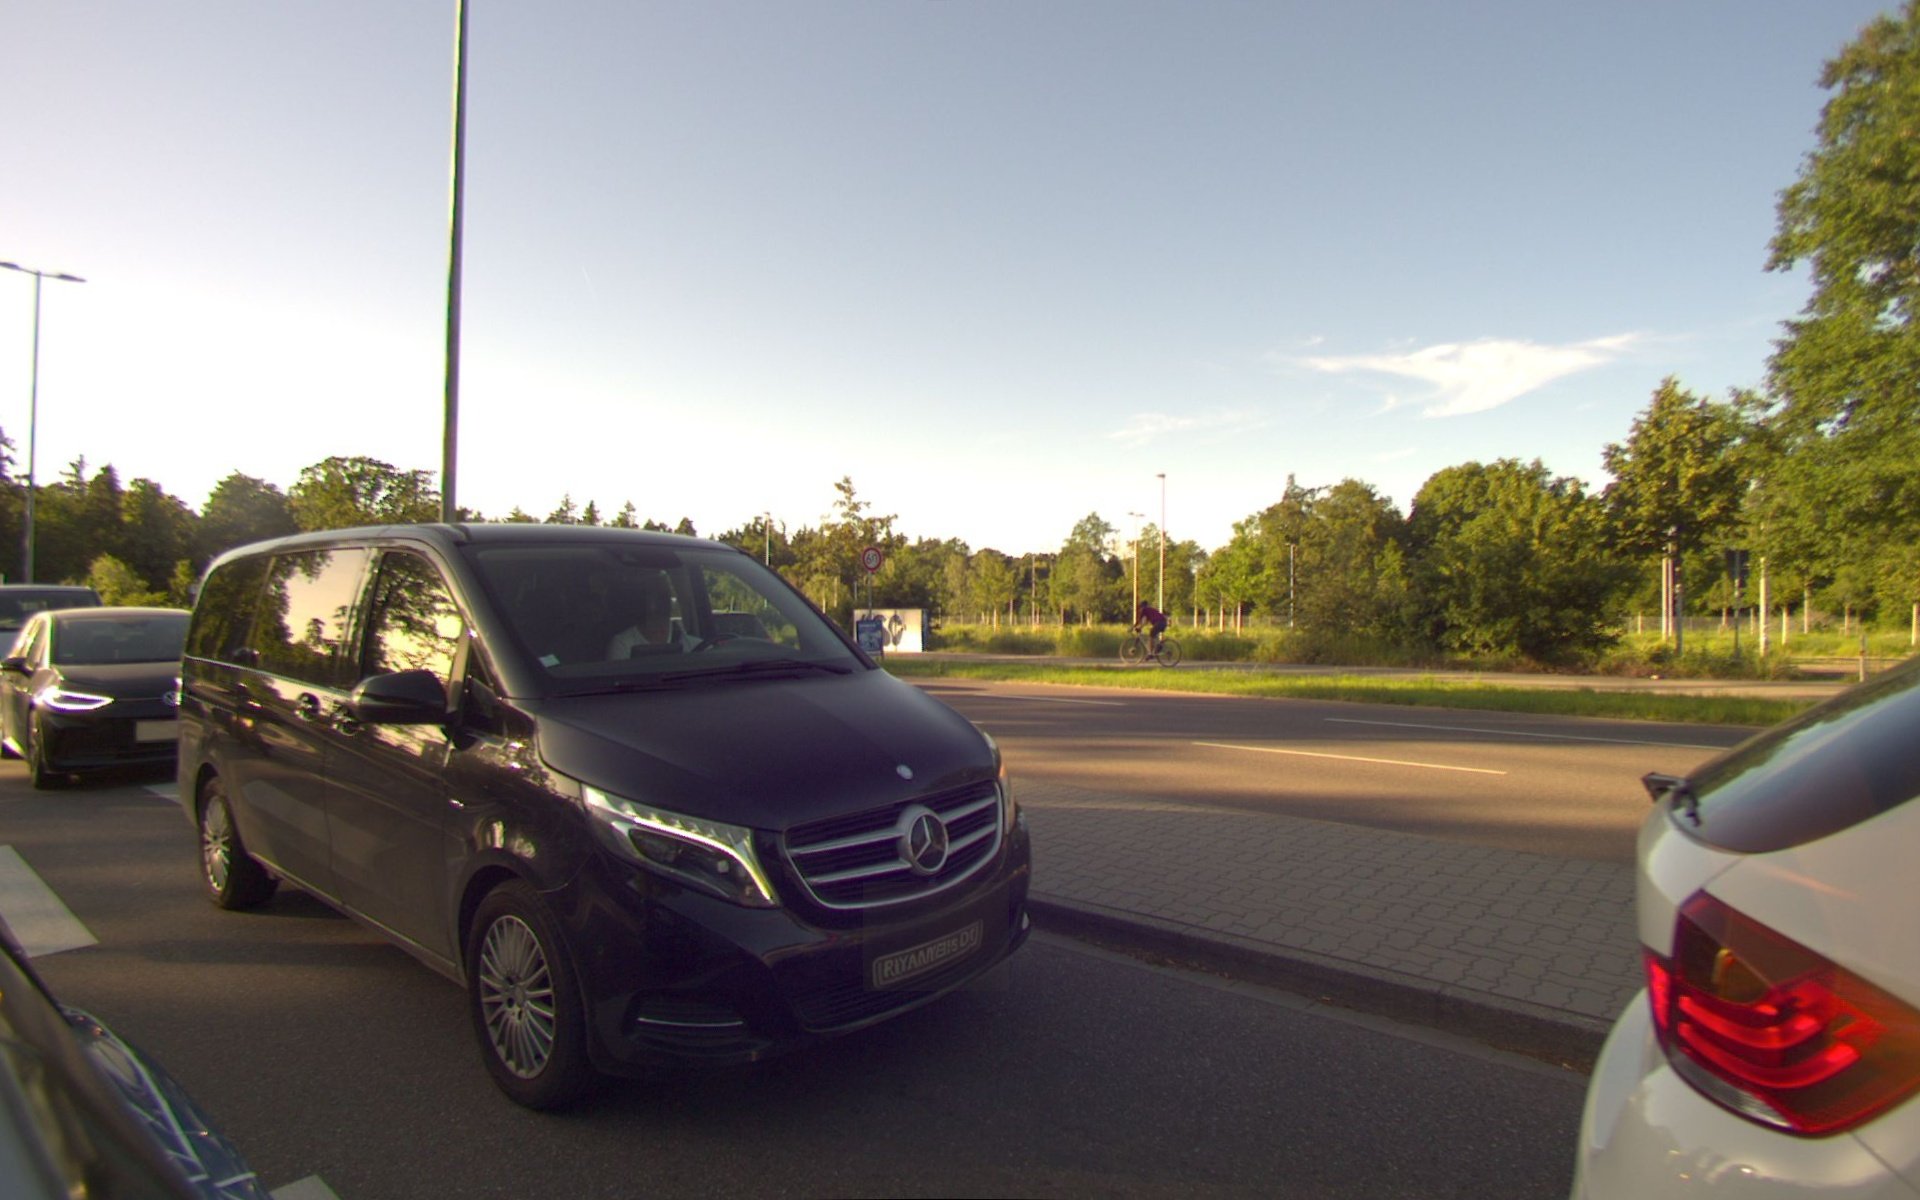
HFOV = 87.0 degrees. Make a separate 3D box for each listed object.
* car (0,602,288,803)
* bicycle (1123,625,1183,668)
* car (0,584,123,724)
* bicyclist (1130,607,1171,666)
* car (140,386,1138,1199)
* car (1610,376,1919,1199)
[{"bbox_3d":[-8.290,0.839,9.979,4.100,1.581,1.714,-1,-1,40],"label":"car"},{"bbox_3d":[4.792,1.140,25.173,1.361,1.027,0.576,-1,0,42],"label":"bicycle"},{"bbox_3d":[-14.741,0.763,15.694,5.064,1.907,1.843,-1,0,40],"label":"car"},{"bbox_3d":[4.725,0.901,25.148,0.800,1.424,0.585,-1,0,43],"label":"bicyclist"},{"bbox_3d":[-1.952,0.511,4.625,5.231,1.887,1.861,-1,-1,40],"label":"car"},{"bbox_3d":[2.917,0.564,0.370,4.317,1.595,1.774,-1,-1,40],"label":"car"}]
